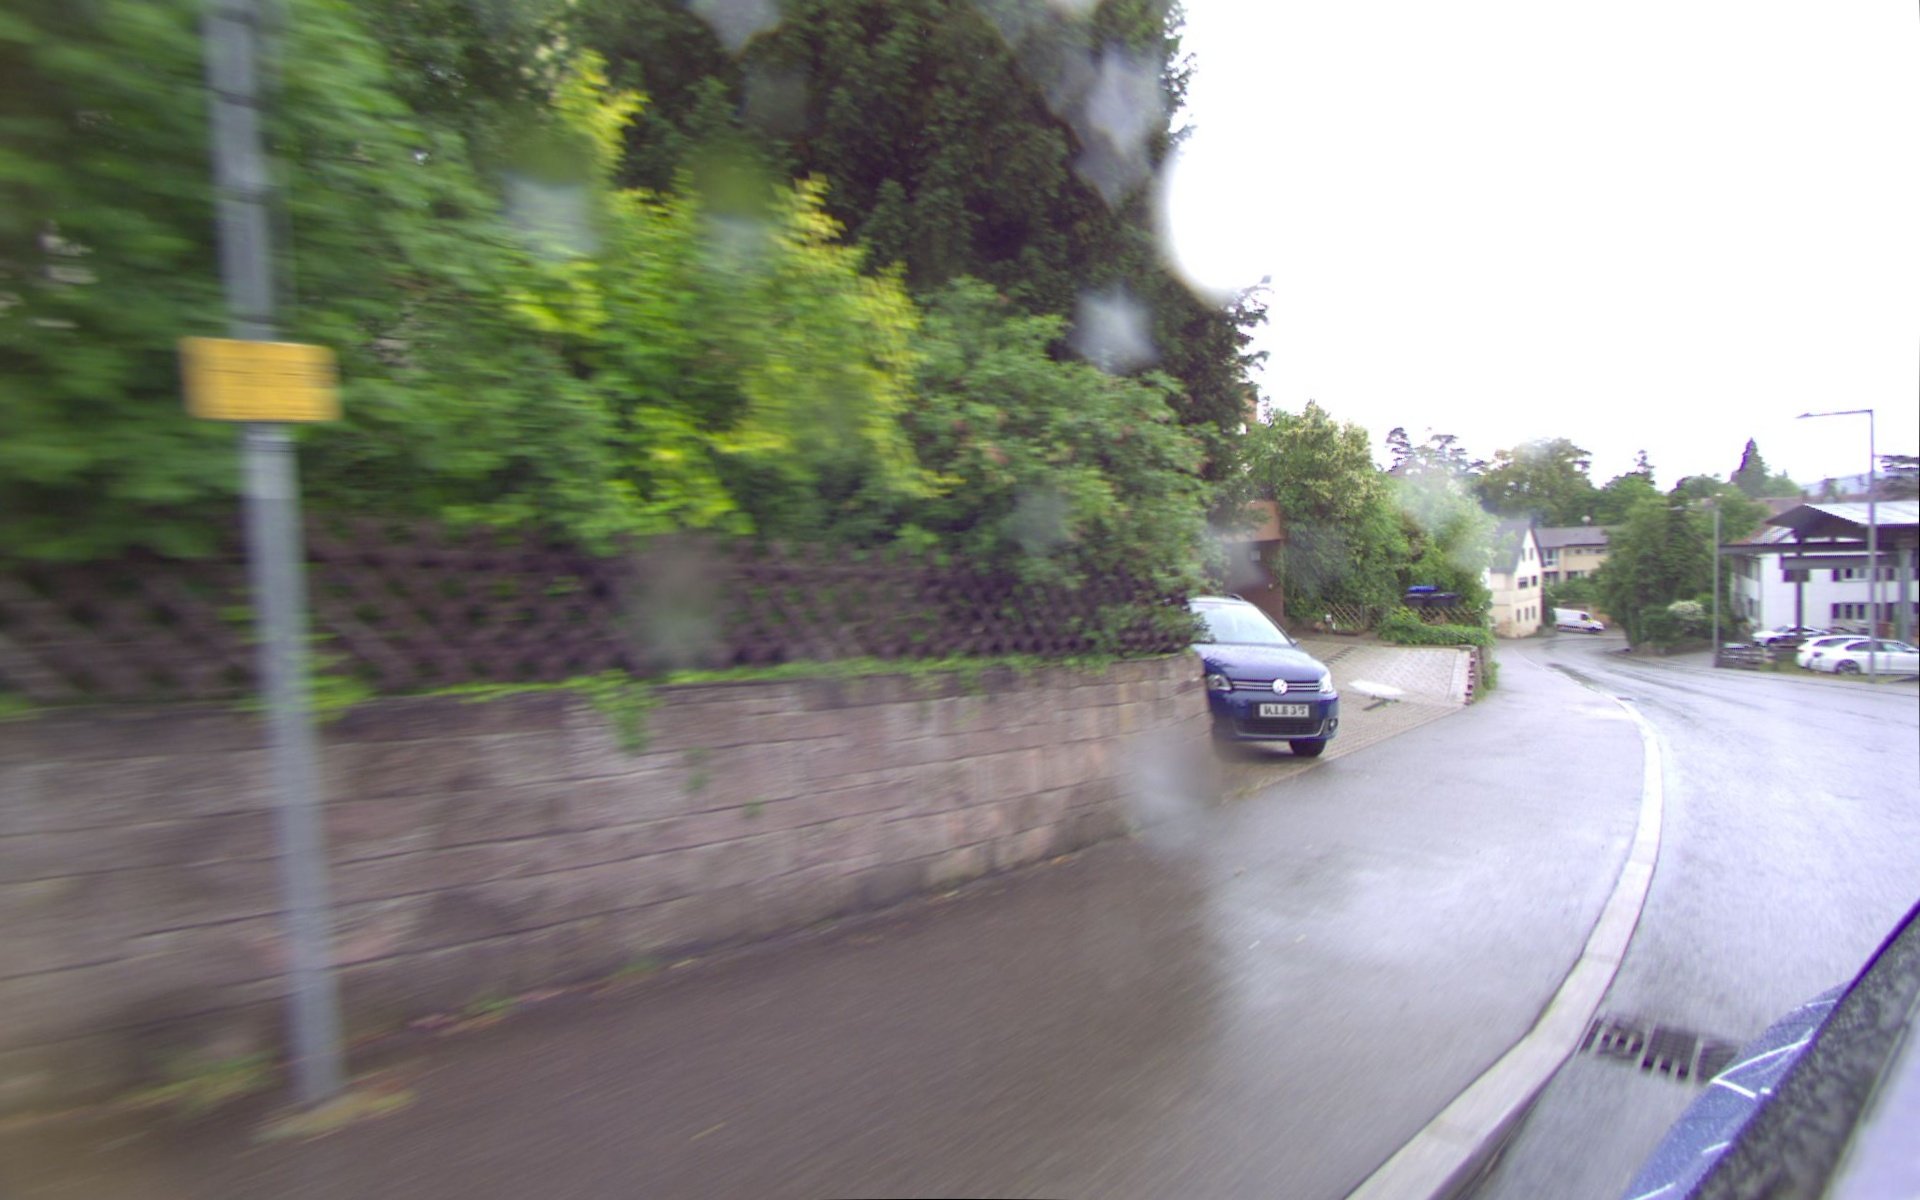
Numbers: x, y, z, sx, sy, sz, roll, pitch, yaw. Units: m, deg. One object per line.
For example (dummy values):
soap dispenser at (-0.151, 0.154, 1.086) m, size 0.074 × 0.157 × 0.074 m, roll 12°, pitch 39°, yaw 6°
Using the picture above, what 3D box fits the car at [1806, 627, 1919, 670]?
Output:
car at (34.080, 1.768, 37.221) m, size 4.490 × 1.524 × 1.872 m, roll 0°, pitch -2°, yaw 40°

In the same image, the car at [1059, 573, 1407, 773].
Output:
car at (2.641, 0.627, 11.041) m, size 1.818 × 1.627 × 4.348 m, roll 5°, pitch 0°, yaw -11°

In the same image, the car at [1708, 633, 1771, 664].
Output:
car at (39.942, 2.452, 51.936) m, size 1.884 × 1.459 × 4.399 m, roll 2°, pitch -1°, yaw 29°

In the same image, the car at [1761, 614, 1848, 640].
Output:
car at (53.432, 1.701, 64.117) m, size 3.965 × 1.527 × 1.785 m, roll 0°, pitch 1°, yaw 30°

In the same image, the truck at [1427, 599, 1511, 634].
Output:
truck at (49.736, 1.605, 99.022) m, size 6.960 × 2.735 × 2.107 m, roll 7°, pitch 3°, yaw 43°

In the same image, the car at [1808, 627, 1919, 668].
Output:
car at (36.041, 1.833, 39.743) m, size 1.868 × 1.524 × 3.991 m, roll 2°, pitch -2°, yaw -43°

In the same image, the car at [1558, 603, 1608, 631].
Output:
car at (67.671, 1.793, 109.945) m, size 4.249 × 2.785 × 1.987 m, roll 2°, pitch 3°, yaw 21°

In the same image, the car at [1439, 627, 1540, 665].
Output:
car at (27.893, 2.405, 53.433) m, size 4.678 × 1.844 × 1.980 m, roll 0°, pitch -2°, yaw 28°
